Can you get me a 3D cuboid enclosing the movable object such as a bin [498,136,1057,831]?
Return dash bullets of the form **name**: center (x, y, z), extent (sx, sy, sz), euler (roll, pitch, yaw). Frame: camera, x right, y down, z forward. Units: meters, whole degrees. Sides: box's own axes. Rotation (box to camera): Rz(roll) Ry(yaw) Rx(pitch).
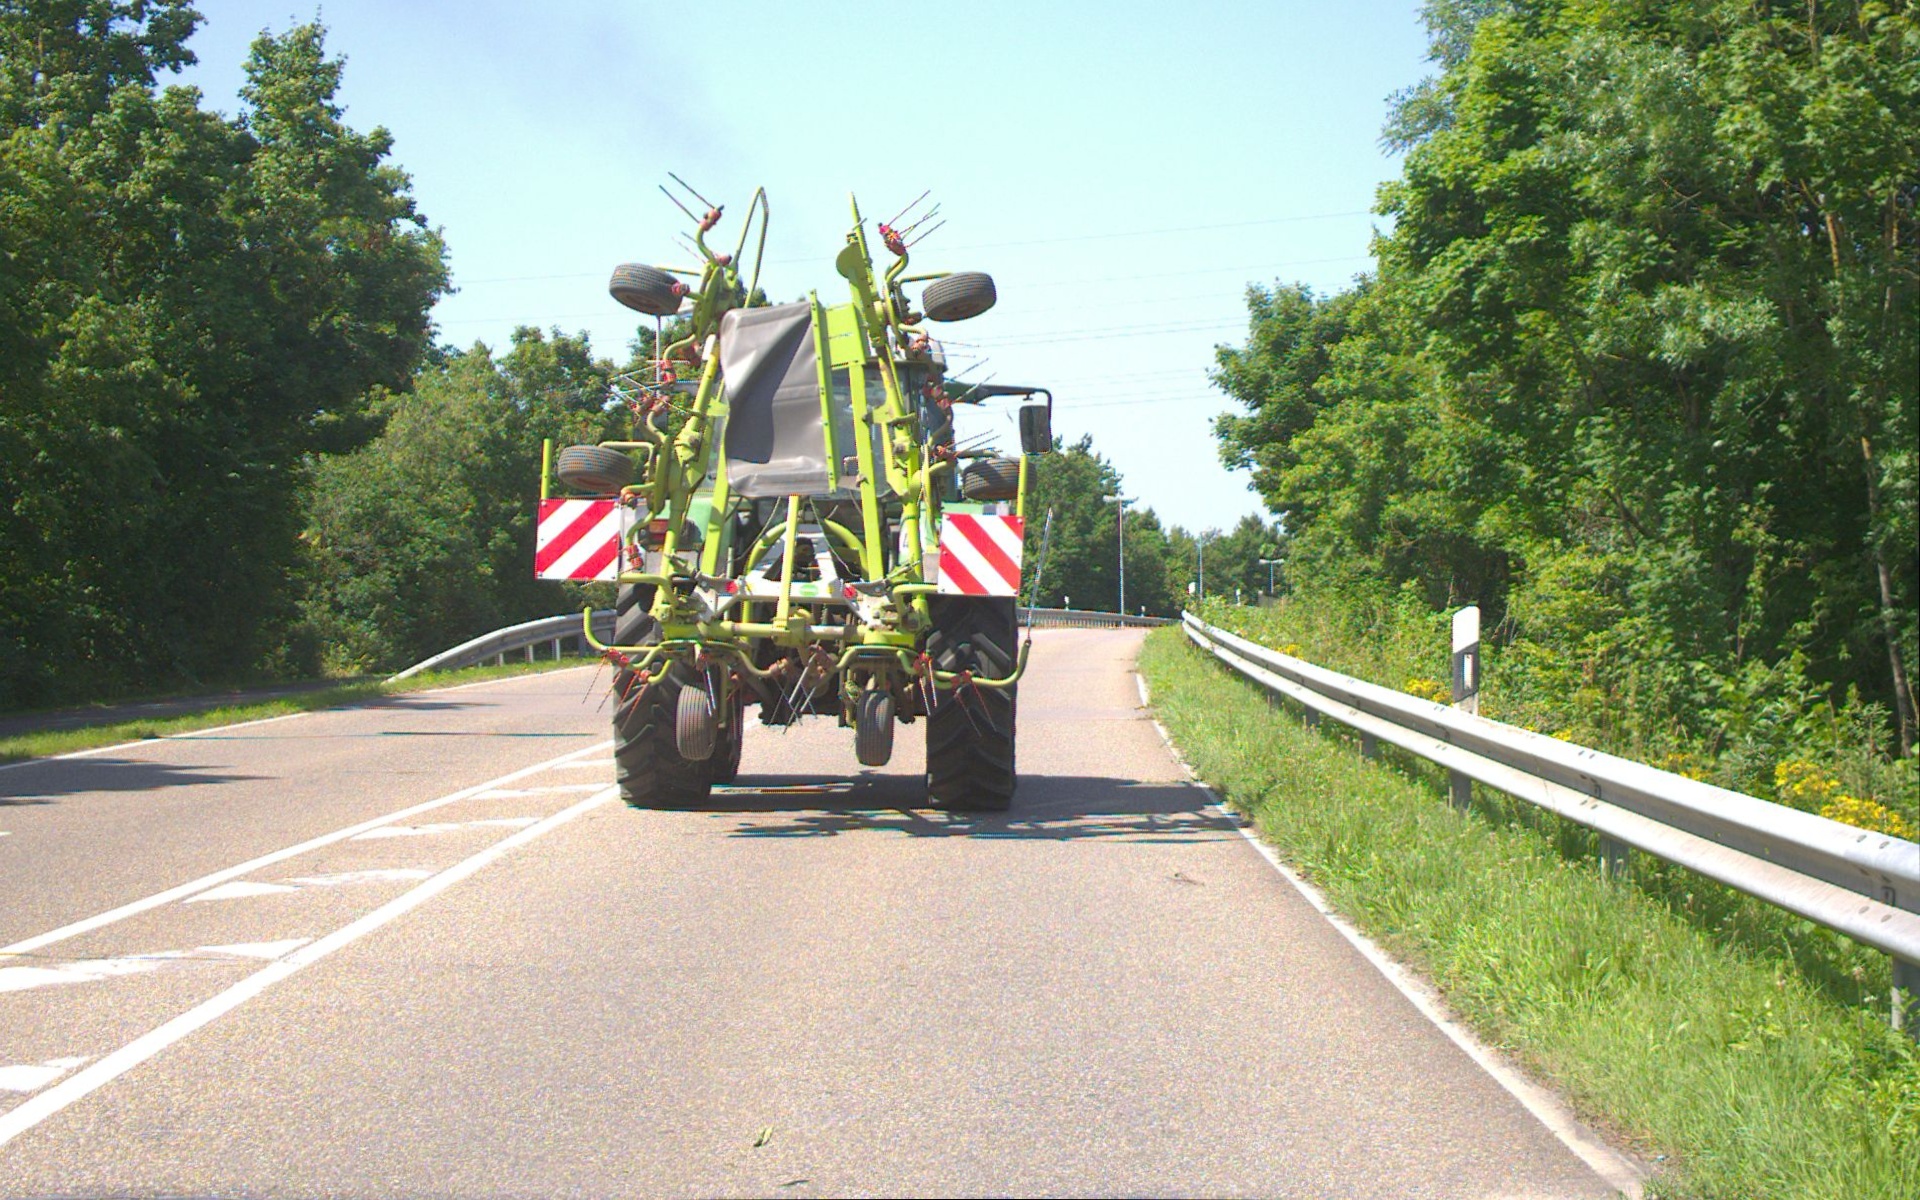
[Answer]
- **movable object such as a bin**: center (-0.855, -0.579, 19.928), extent (2.755, 3.432, 5.669), euler (0, 0, 1)
